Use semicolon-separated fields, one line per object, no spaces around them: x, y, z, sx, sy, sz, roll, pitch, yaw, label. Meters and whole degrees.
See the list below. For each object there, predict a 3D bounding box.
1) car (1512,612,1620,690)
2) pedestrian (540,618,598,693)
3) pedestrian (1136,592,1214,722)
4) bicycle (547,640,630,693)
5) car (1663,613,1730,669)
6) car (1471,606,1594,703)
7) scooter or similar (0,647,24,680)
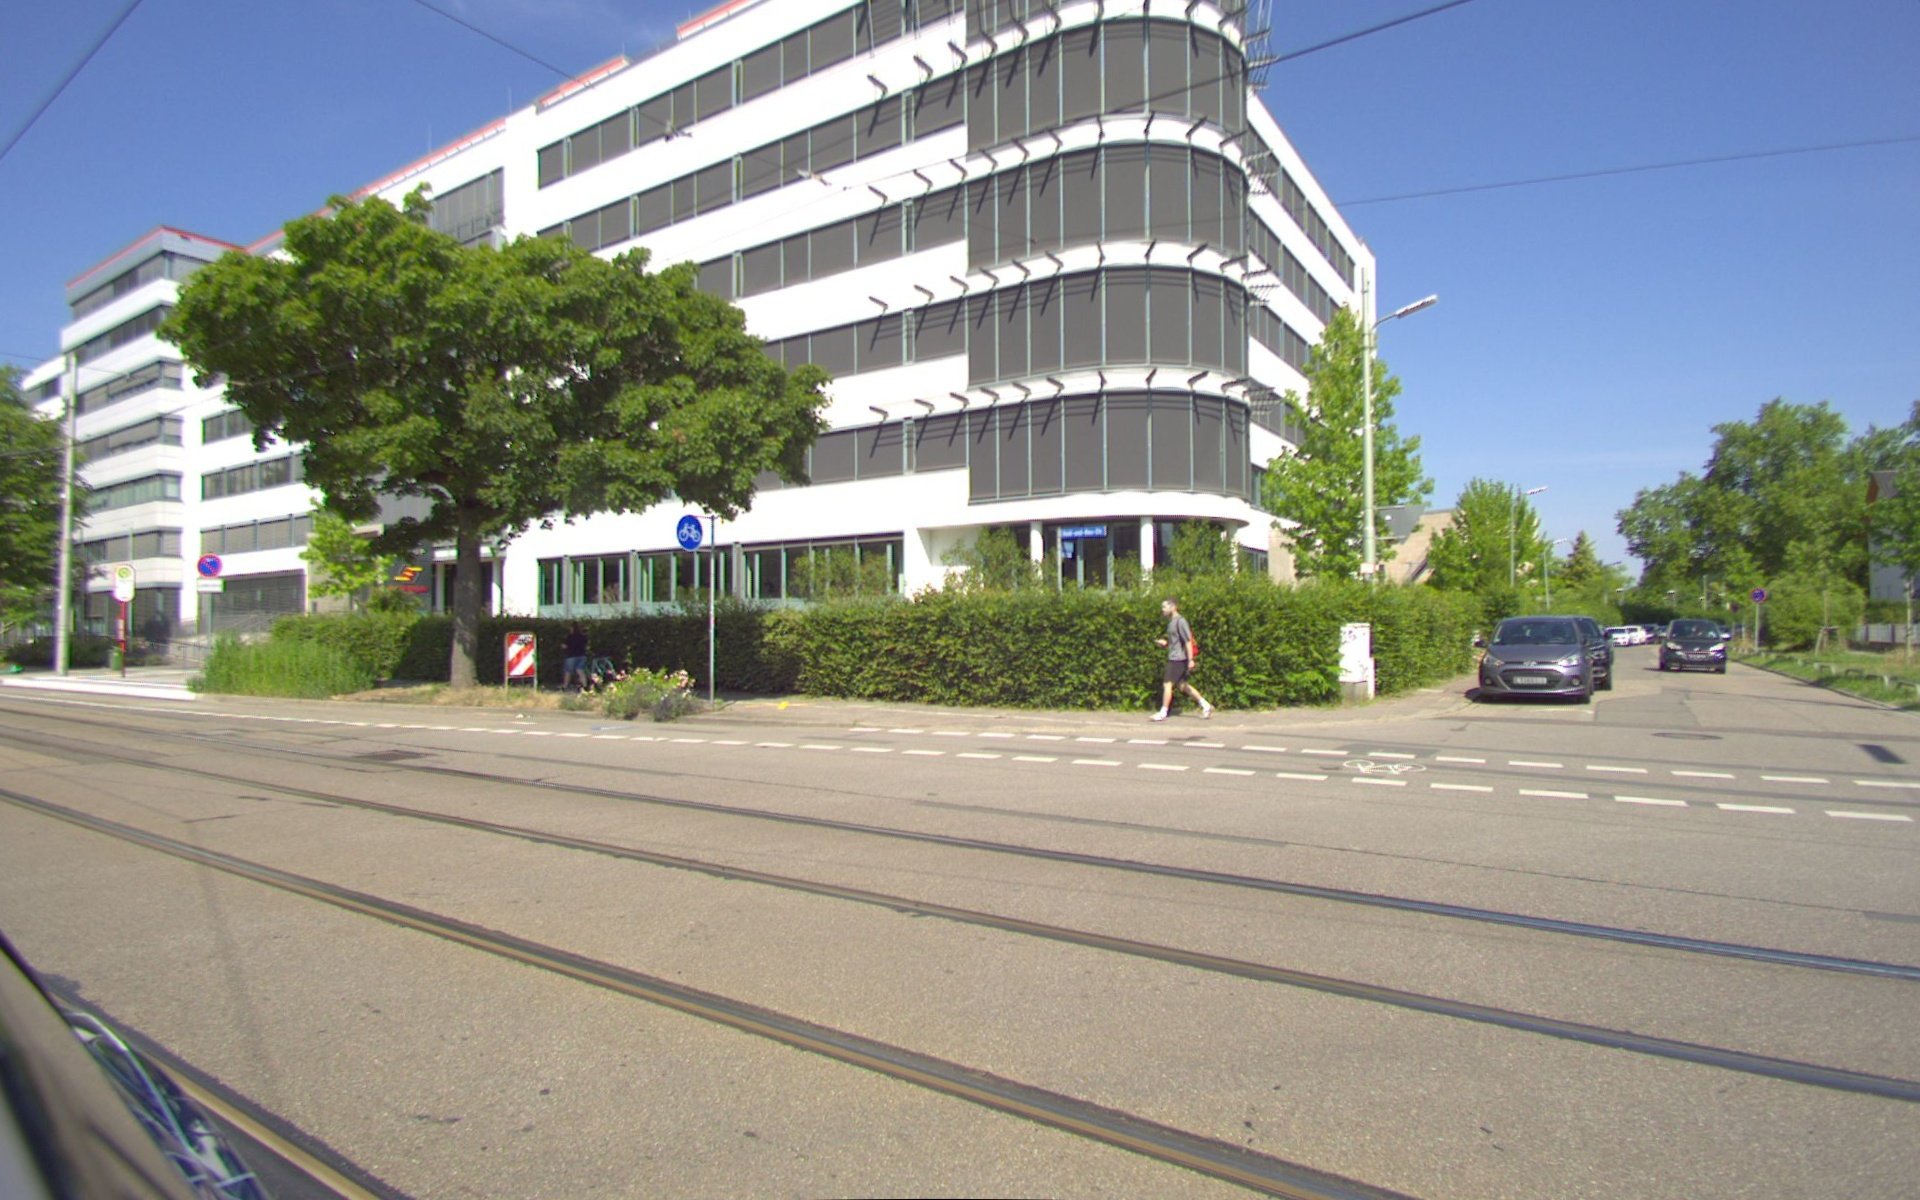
13.150;1.061;21.890;1.810;1.530;4.122;-2;-2;33;car
-8.417;1.182;21.805;0.984;1.575;0.681;-2;-1;30;pedestrian
3.177;0.824;14.879;1.063;1.832;0.888;-1;-2;15;pedestrian
-8.153;1.446;22.182;2.061;1.126;0.630;-2;-3;34;bicycle
21.521;1.173;29.659;1.476;1.550;2.941;-2;-2;35;car
10.360;0.940;18.211;1.700;1.539;3.655;-2;-2;33;car
-35.547;2.358;37.548;0.674;1.175;1.115;-2;-2;37;scooter or similar
